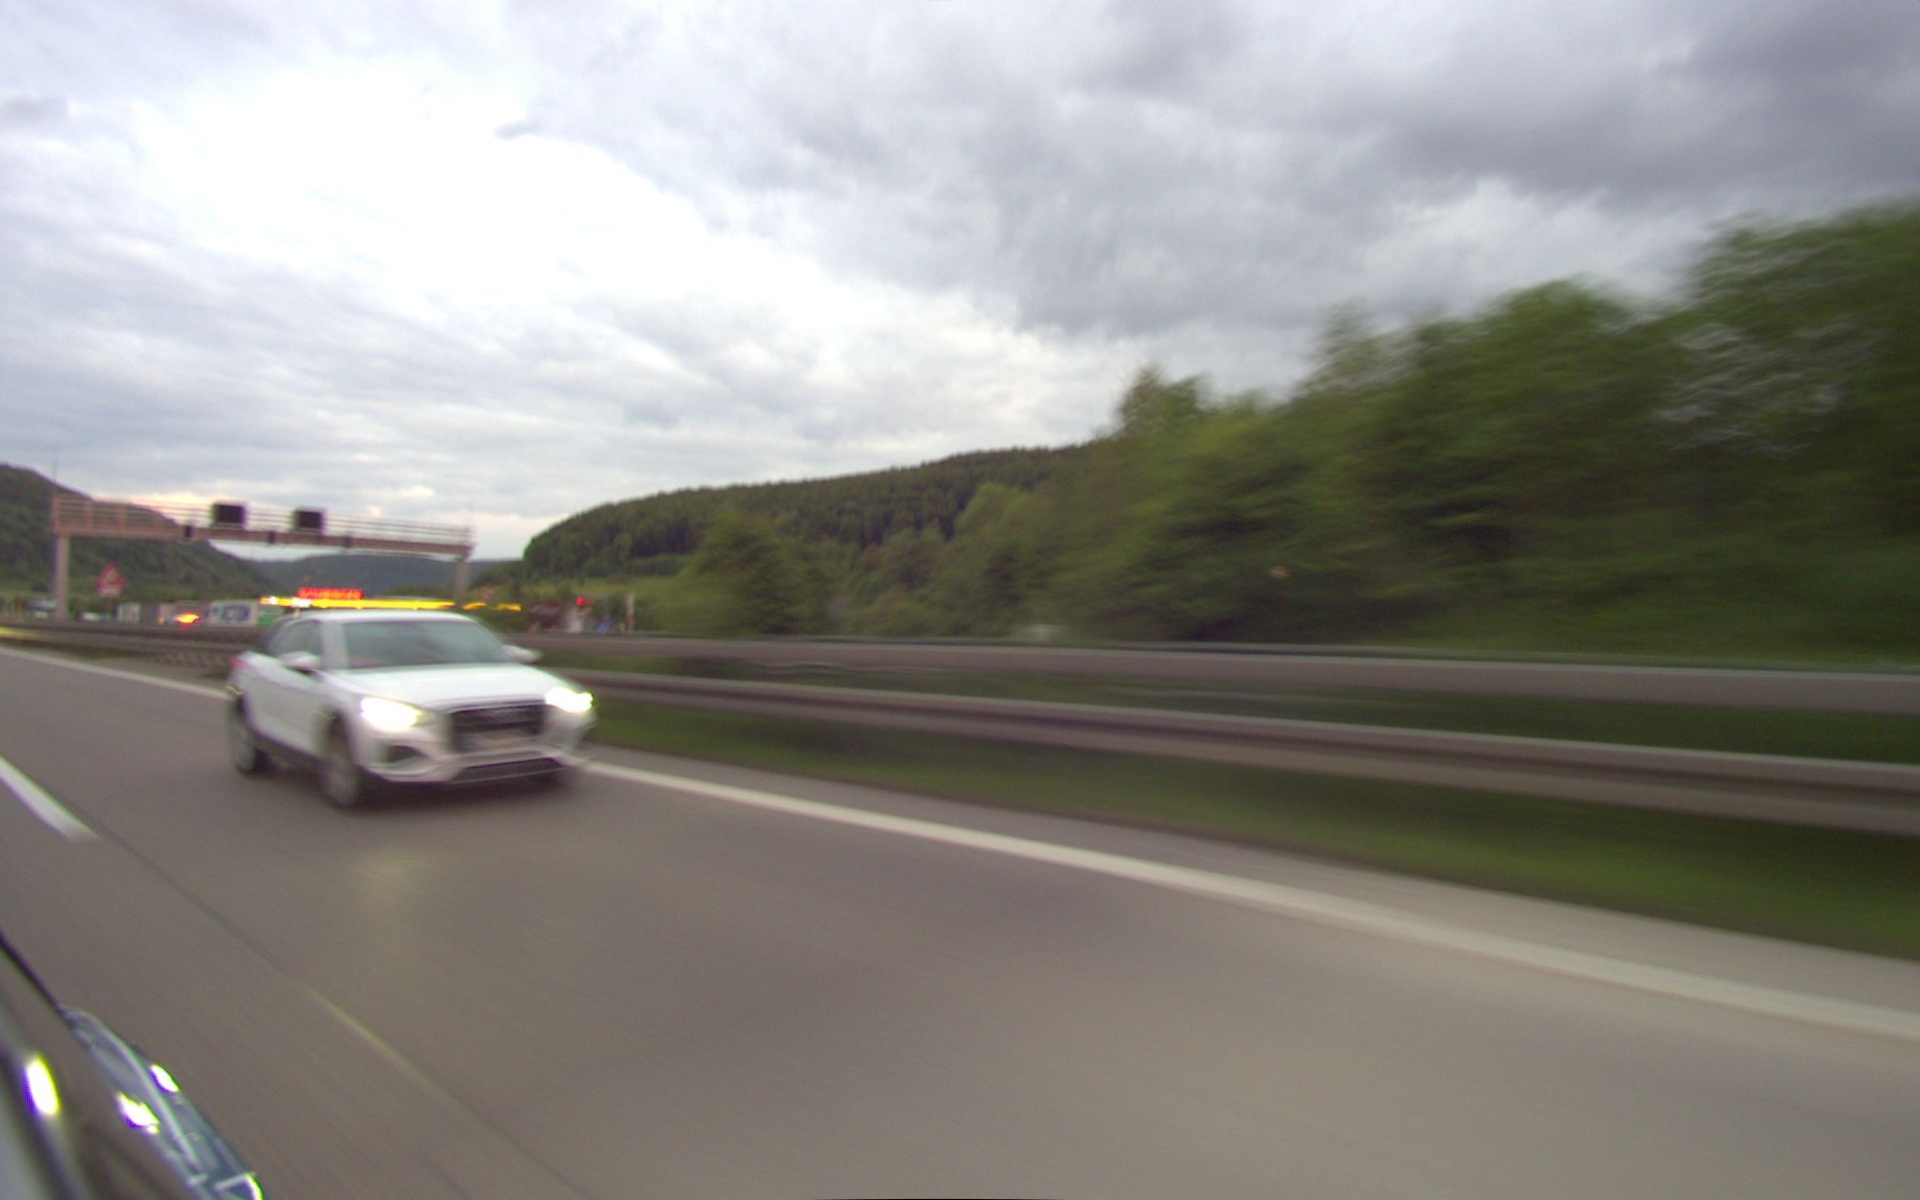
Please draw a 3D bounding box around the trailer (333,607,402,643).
[{"bbox_3d":[-76.304,3.188,130.185,15.942,4.292,2.986,-1,-1,42],"label":"trailer"}]

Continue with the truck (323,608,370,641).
[{"bbox_3d":[-82.280,3.275,135.610,8.862,4.292,2.986,-1,-1,42],"label":"truck"}]

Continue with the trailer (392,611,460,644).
[{"bbox_3d":[-61.814,3.146,116.912,12.713,3.707,2.843,-1,-1,42],"label":"trailer"}]

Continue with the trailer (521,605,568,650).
[{"bbox_3d":[-37.223,2.404,90.965,3.018,3.707,13.384,0,-1,-19],"label":"trailer"}]

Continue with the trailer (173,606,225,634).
[{"bbox_3d":[-97.954,2.529,130.084,13.847,3.451,2.842,-1,-1,42],"label":"trailer"}]

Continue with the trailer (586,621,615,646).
[{"bbox_3d":[-53.588,4.937,151.122,2.891,3.546,13.456,1,-1,-15],"label":"trailer"}]

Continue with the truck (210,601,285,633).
[{"bbox_3d":[-80.093,1.963,113.614,13.767,3.451,2.847,-1,-1,37],"label":"truck"}]

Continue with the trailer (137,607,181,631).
[{"bbox_3d":[-116.436,2.789,147.022,13.568,3.451,2.842,-1,-1,43],"label":"trailer"}]

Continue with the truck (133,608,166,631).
[{"bbox_3d":[-121.552,2.912,151.720,6.725,3.451,2.842,-1,-1,42],"label":"truck"}]

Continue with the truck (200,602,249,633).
[{"bbox_3d":[-85.723,2.068,117.961,6.716,3.451,2.846,-1,-1,38],"label":"truck"}]

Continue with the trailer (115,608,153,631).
[{"bbox_3d":[-130.825,3.062,160.256,13.223,3.451,2.842,-1,-1,43],"label":"trailer"}]

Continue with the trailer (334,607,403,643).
[{"bbox_3d":[-76.264,3.189,130.230,15.942,4.292,2.986,-1,-1,42],"label":"trailer"}]

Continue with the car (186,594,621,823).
[{"bbox_3d":[-5.184,0.750,9.045,5.035,1.512,1.771,-1,0,41],"label":"car"}]

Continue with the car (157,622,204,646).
[{"bbox_3d":[-53.870,2.335,69.903,4.643,1.598,1.711,-1,-1,41],"label":"car"}]
